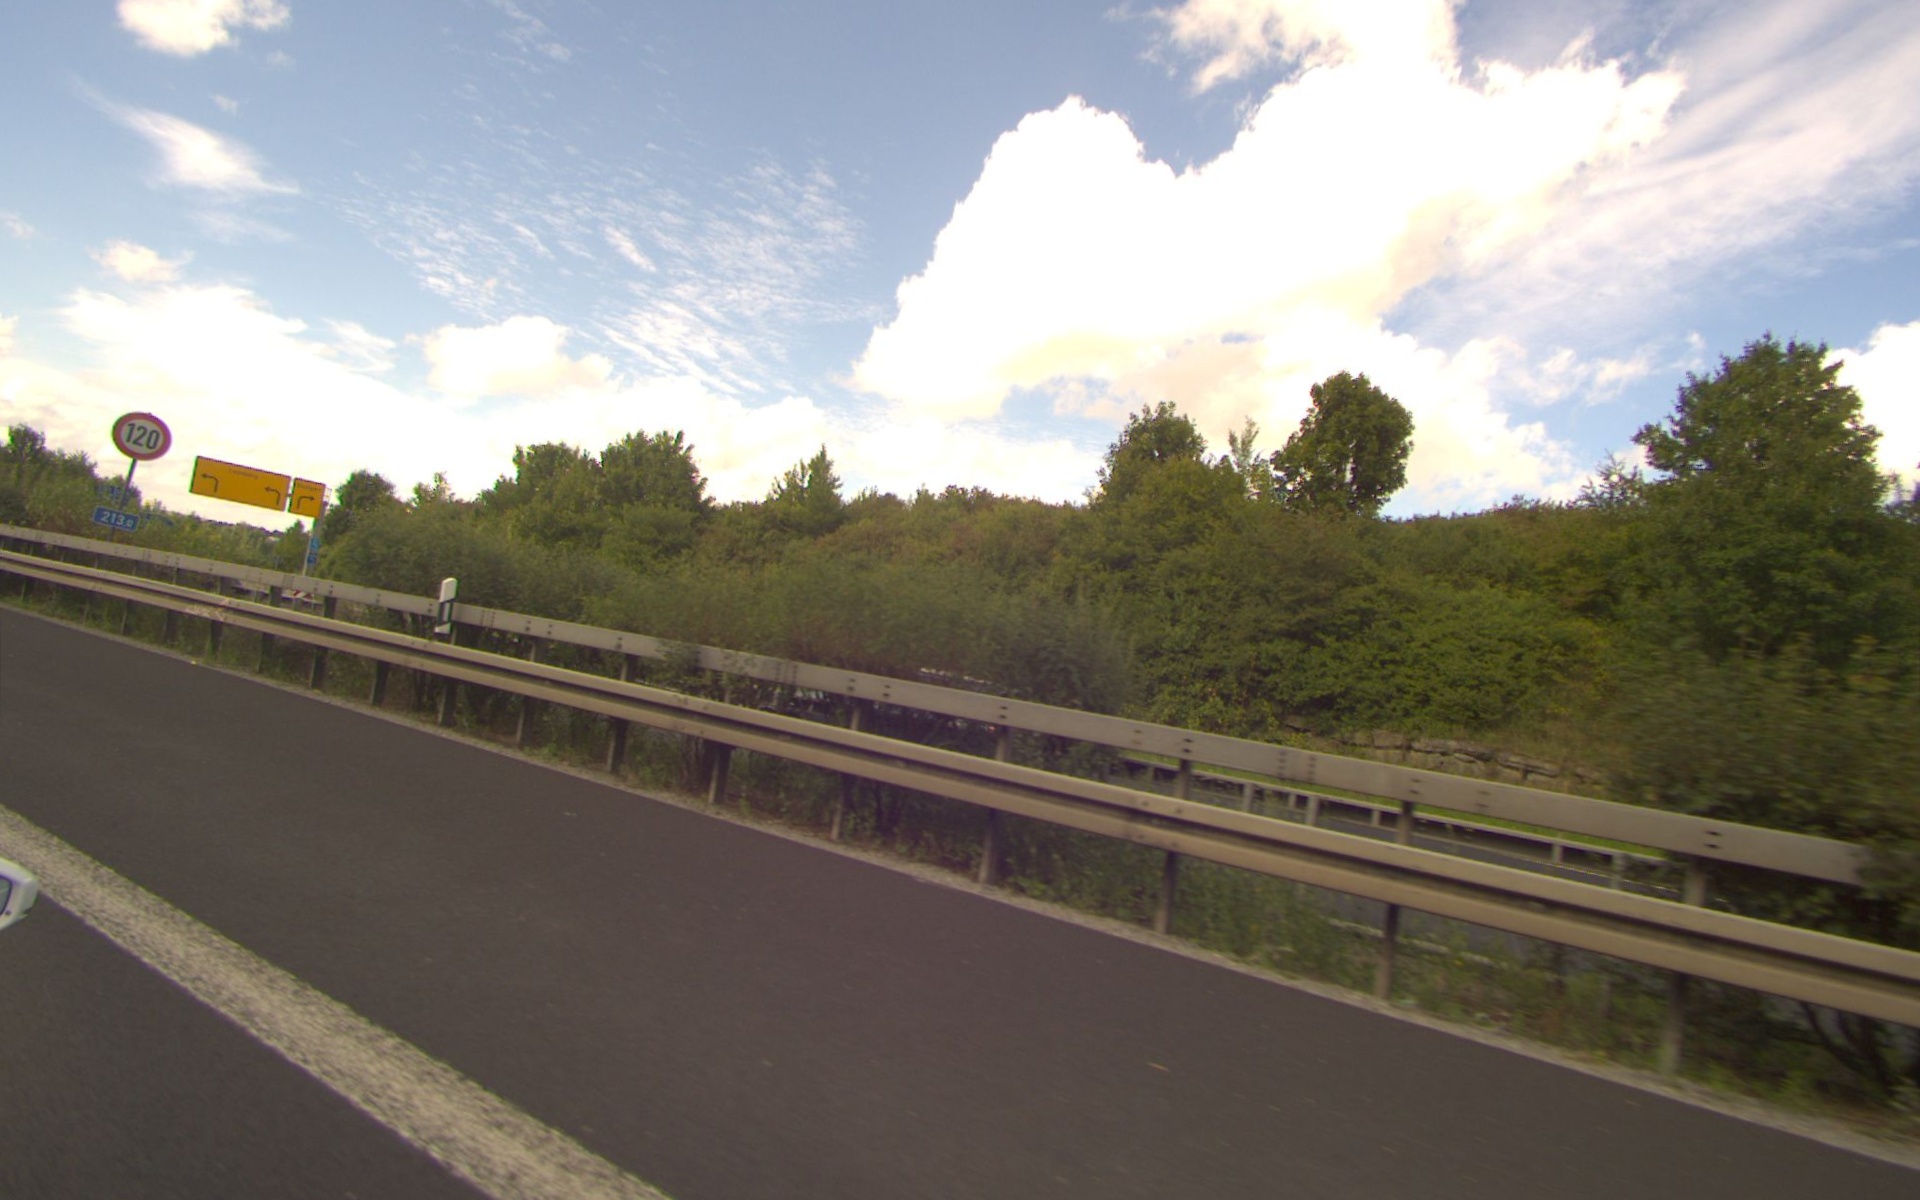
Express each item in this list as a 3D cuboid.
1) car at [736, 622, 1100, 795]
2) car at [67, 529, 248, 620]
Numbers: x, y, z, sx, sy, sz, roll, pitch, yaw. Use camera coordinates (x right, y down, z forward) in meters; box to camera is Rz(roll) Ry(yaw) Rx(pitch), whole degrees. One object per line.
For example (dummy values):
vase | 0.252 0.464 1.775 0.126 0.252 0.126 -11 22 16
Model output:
car | -0.639 1.399 13.801 4.596 1.536 1.789 7 -2 29
car | -19.562 -0.640 24.497 4.269 1.589 1.789 7 -2 29
